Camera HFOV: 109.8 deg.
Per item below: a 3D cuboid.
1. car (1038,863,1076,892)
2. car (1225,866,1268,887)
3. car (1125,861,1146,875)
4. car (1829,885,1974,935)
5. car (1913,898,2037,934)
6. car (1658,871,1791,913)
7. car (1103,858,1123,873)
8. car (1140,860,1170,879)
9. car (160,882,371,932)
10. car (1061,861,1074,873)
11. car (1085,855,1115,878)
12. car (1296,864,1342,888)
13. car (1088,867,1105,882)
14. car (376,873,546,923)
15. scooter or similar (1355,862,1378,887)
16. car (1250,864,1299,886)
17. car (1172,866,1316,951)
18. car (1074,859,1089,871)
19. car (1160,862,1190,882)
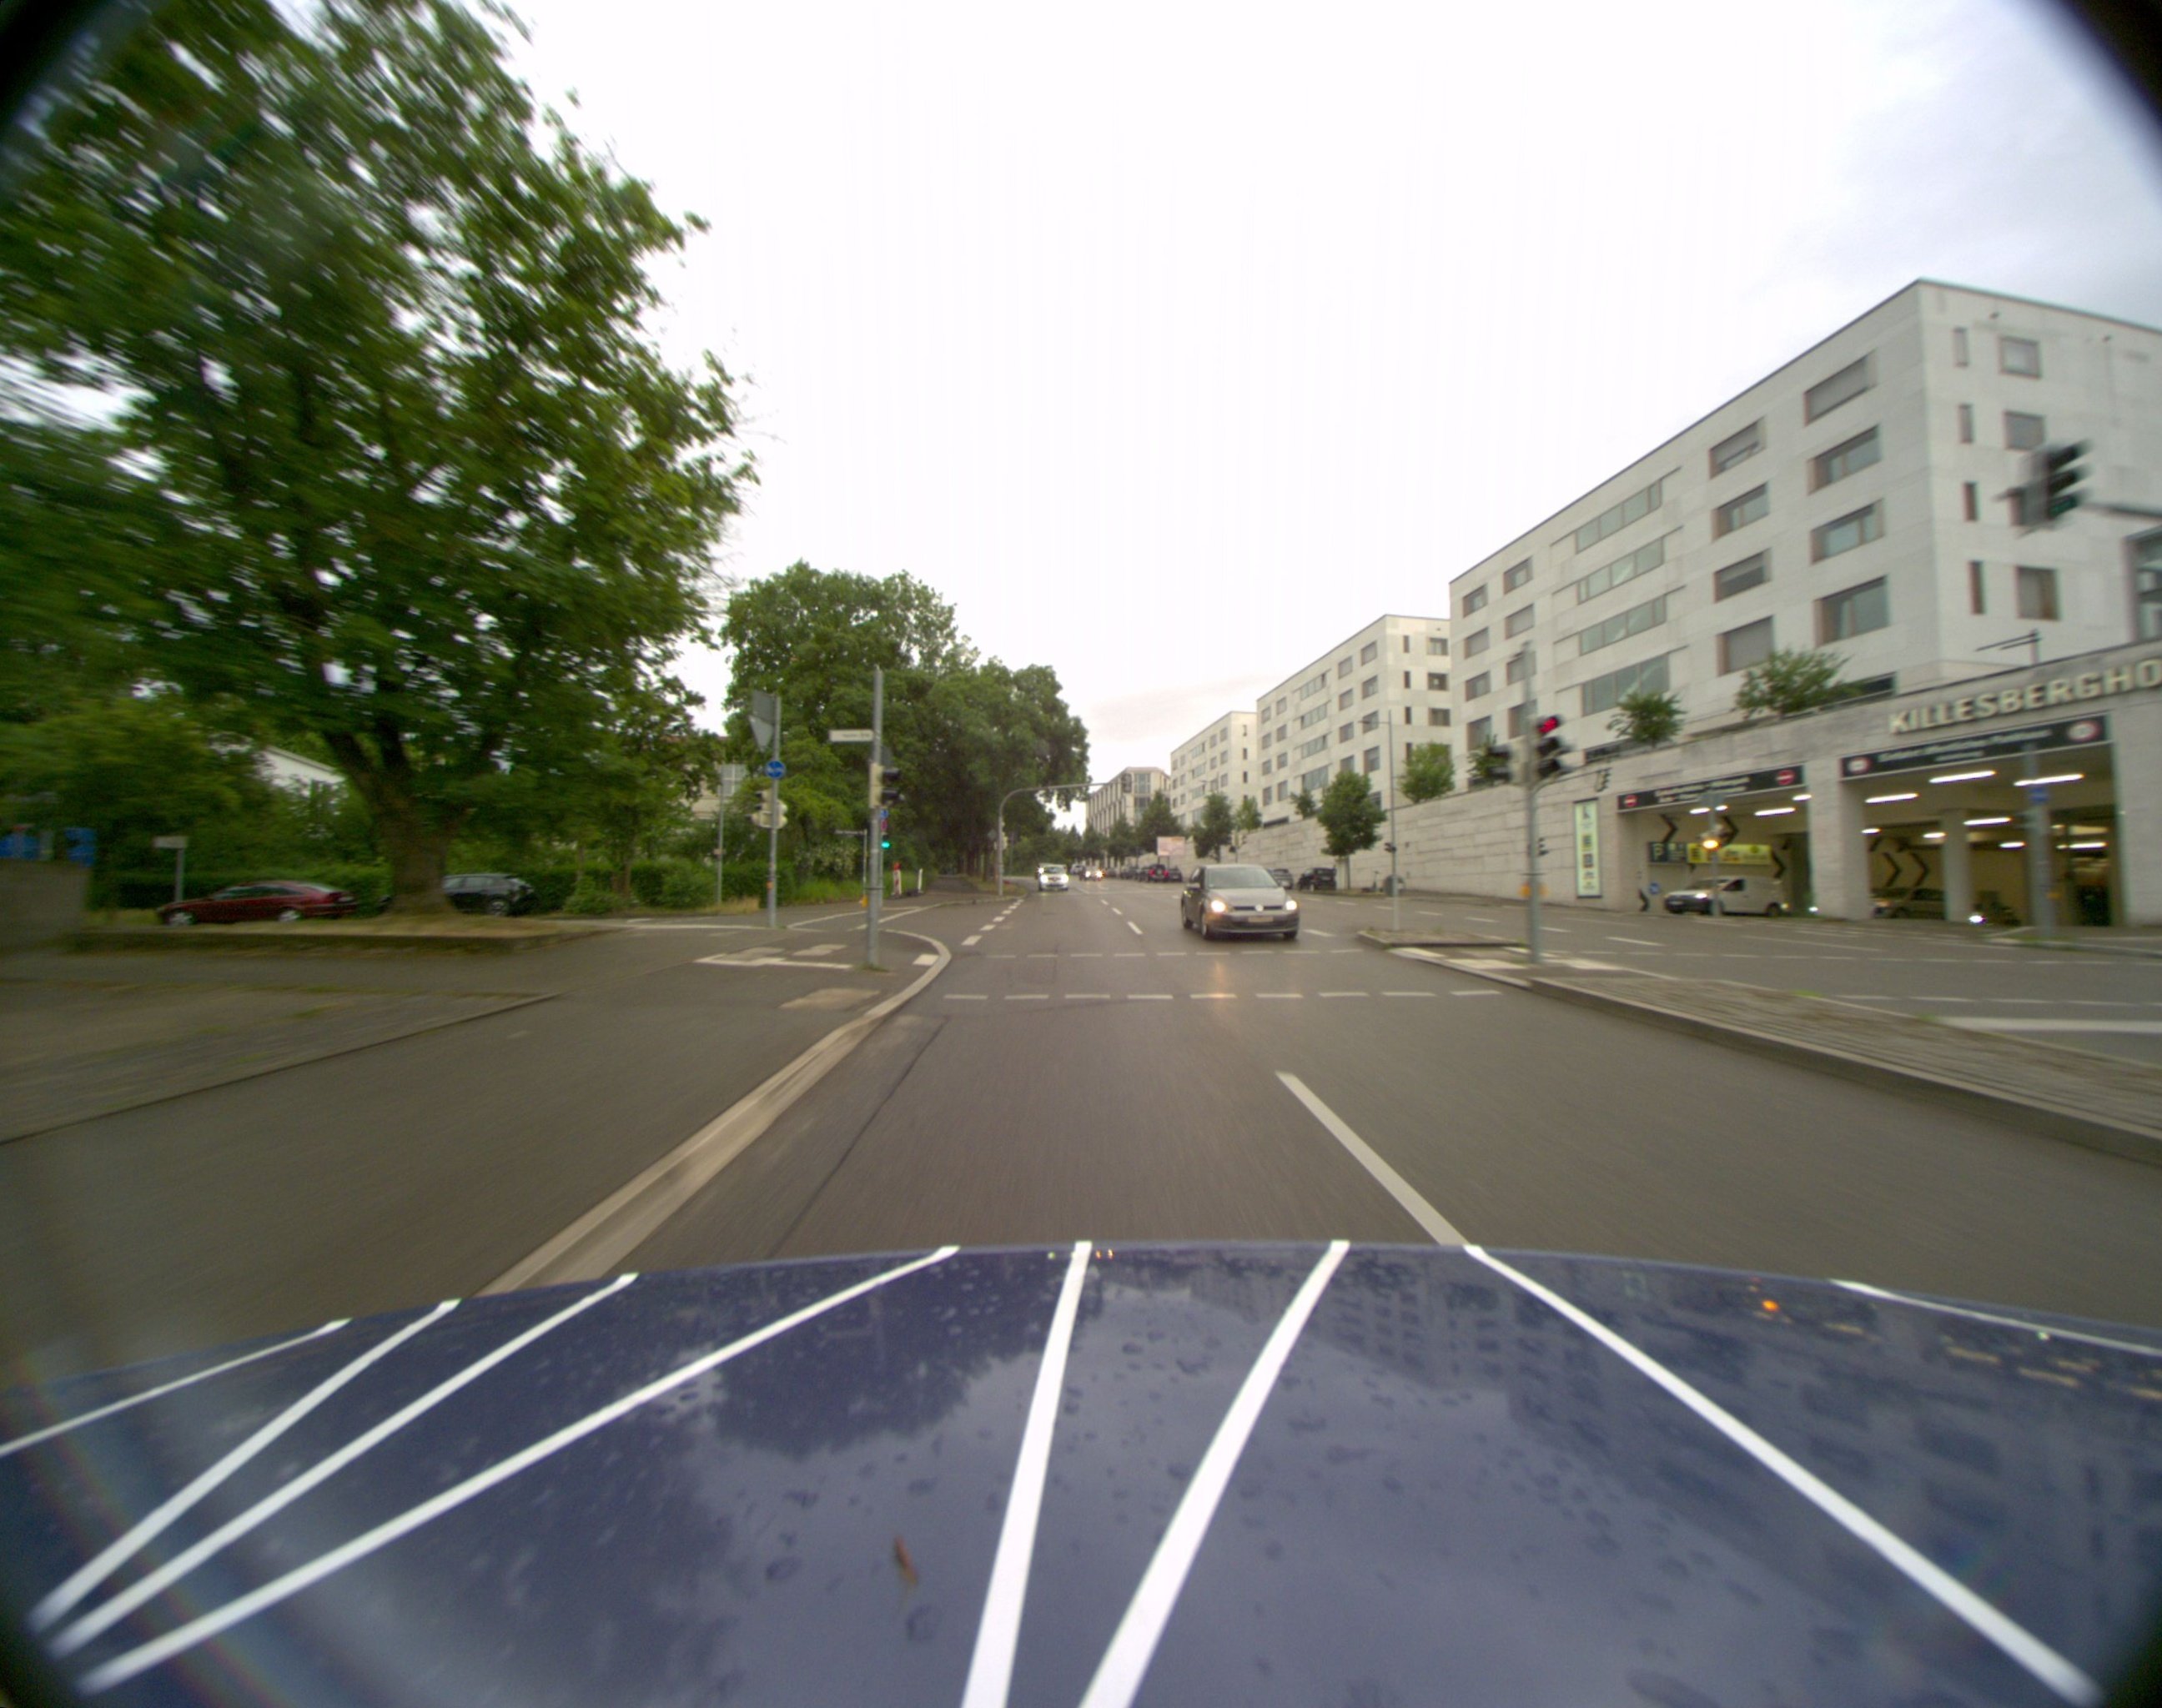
[{"bbox_3d":[-1.496,1.417,46.237,1.928,1.651,3.999,-1,-2,-7],"label":"car"},{"bbox_3d":[12.856,1.722,59.334,1.791,1.622,3.996,0,-1,-12],"label":"car"},{"bbox_3d":[6.797,1.759,94.931,2.000,1.739,3.998,-1,-1,-6],"label":"car"},{"bbox_3d":[30.988,2.084,28.744,4.000,1.761,1.799,0,0,-9],"label":"car"},{"bbox_3d":[39.263,2.705,33.404,4.201,1.435,1.607,0,0,-9],"label":"car"},{"bbox_3d":[26.594,1.536,31.448,4.348,1.642,1.998,0,0,-12],"label":"car"},{"bbox_3d":[4.525,1.715,108.590,1.925,2.001,4.384,-1,-2,-9],"label":"car"},{"bbox_3d":[7.318,1.542,75.654,1.966,1.828,4.446,0,-1,-8],"label":"car"},{"bbox_3d":[-25.189,1.606,23.652,4.108,1.385,1.844,0,-1,-16],"label":"car"},{"bbox_3d":[-2.337,2.178,130.830,1.999,2.001,3.999,-1,-1,-4],"label":"car"},{"bbox_3d":[1.738,1.180,70.874,1.925,2.001,4.384,-1,-2,-9],"label":"car"},{"bbox_3d":[15.310,1.391,48.983,1.682,1.450,2.693,0,-1,-12],"label":"car"},{"bbox_3d":[2.174,2.864,105.174,1.999,2.001,3.999,0,-1,-4],"label":"car"},{"bbox_3d":[-20.281,1.396,25.040,3.908,1.538,1.879,0,-1,-17],"label":"car"},{"bbox_3d":[17.049,1.237,45.405,1.277,1.459,0.429,-1,0,22],"label":"scooter or similar"},{"bbox_3d":[13.816,1.500,54.529,1.864,1.469,3.996,0,-1,-12],"label":"car"},{"bbox_3d":[3.120,0.984,15.462,1.876,1.432,4.296,-1,-1,-2],"label":"car"},{"bbox_3d":[0.003,1.900,132.201,1.925,2.001,4.384,-1,-2,-9],"label":"car"},{"bbox_3d":[9.644,1.889,78.534,1.925,2.001,4.384,-1,-2,-9],"label":"car"}]
